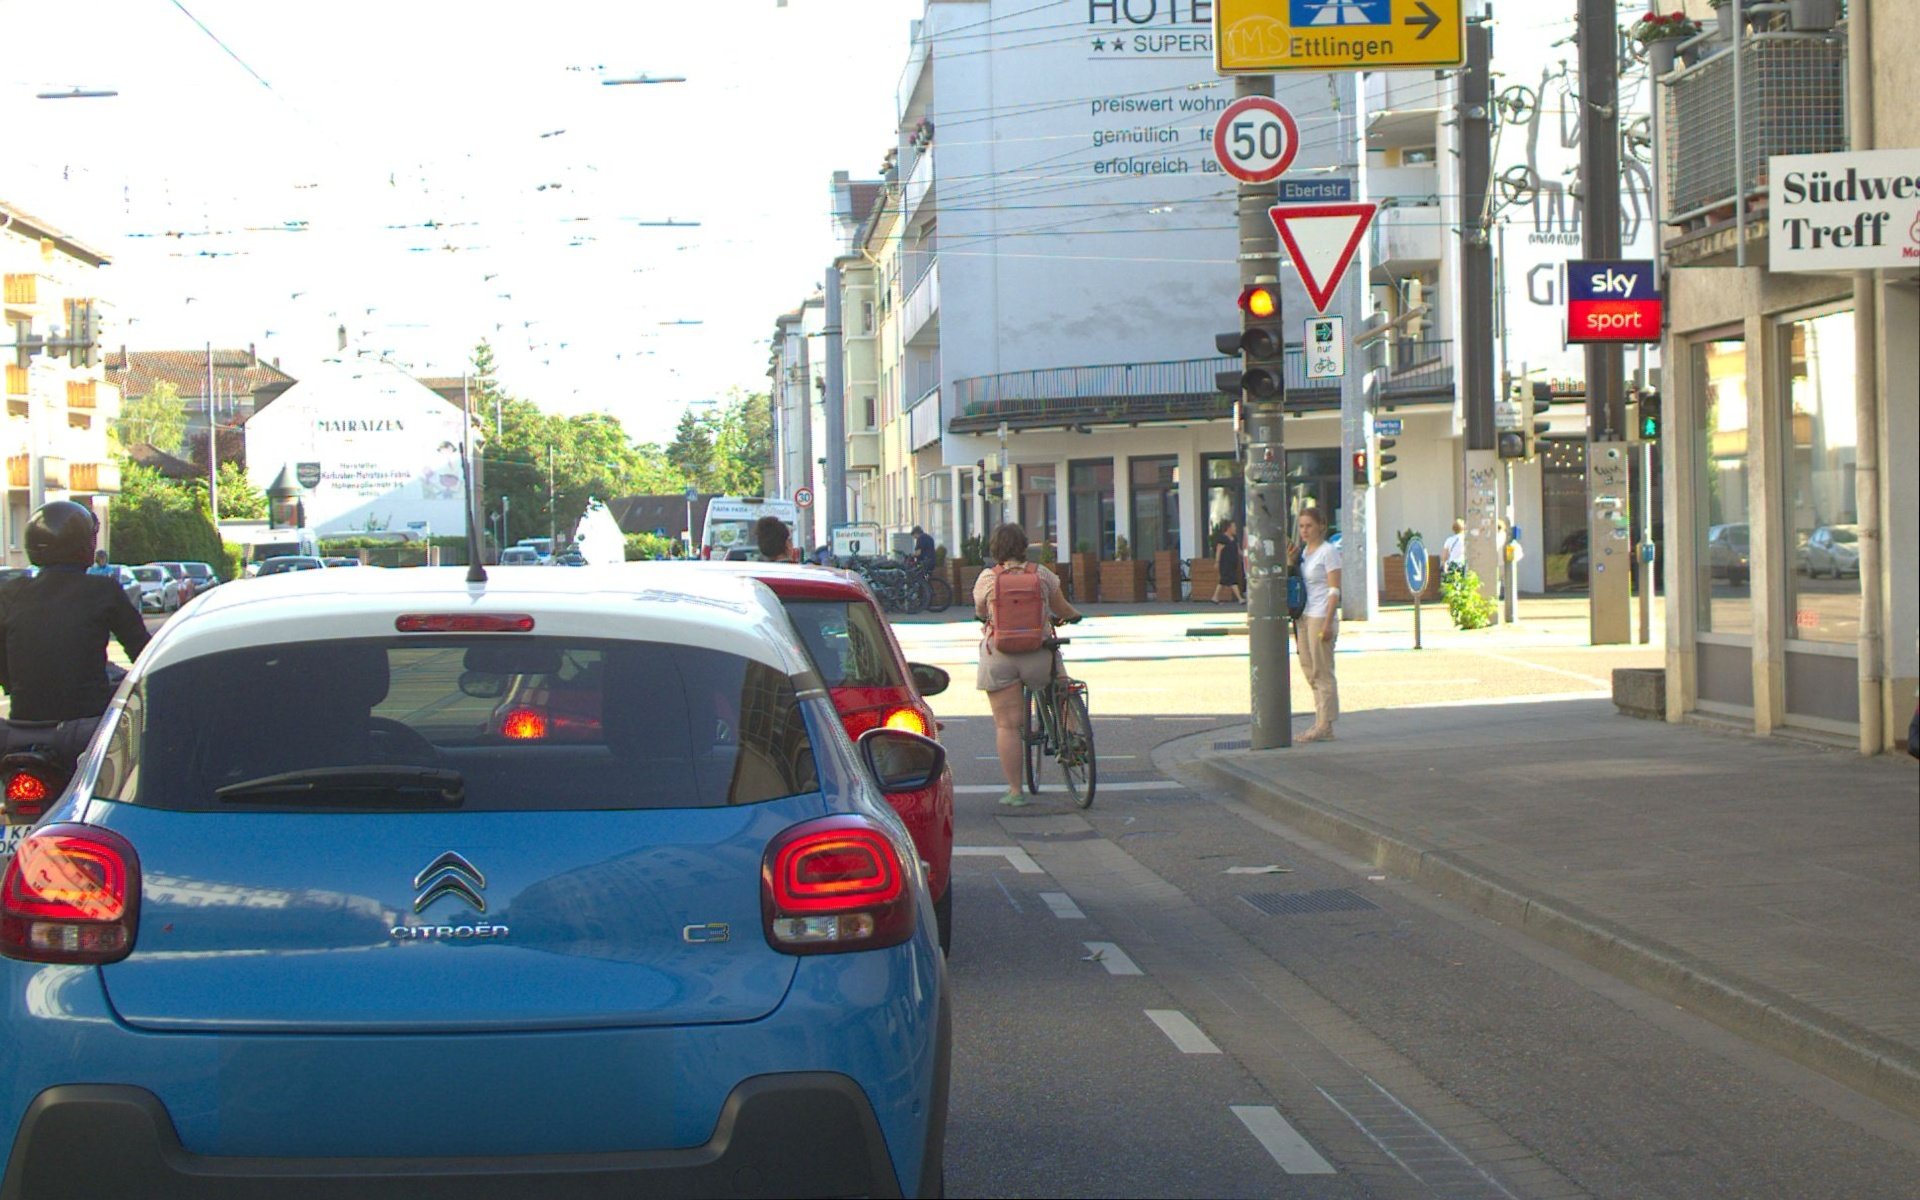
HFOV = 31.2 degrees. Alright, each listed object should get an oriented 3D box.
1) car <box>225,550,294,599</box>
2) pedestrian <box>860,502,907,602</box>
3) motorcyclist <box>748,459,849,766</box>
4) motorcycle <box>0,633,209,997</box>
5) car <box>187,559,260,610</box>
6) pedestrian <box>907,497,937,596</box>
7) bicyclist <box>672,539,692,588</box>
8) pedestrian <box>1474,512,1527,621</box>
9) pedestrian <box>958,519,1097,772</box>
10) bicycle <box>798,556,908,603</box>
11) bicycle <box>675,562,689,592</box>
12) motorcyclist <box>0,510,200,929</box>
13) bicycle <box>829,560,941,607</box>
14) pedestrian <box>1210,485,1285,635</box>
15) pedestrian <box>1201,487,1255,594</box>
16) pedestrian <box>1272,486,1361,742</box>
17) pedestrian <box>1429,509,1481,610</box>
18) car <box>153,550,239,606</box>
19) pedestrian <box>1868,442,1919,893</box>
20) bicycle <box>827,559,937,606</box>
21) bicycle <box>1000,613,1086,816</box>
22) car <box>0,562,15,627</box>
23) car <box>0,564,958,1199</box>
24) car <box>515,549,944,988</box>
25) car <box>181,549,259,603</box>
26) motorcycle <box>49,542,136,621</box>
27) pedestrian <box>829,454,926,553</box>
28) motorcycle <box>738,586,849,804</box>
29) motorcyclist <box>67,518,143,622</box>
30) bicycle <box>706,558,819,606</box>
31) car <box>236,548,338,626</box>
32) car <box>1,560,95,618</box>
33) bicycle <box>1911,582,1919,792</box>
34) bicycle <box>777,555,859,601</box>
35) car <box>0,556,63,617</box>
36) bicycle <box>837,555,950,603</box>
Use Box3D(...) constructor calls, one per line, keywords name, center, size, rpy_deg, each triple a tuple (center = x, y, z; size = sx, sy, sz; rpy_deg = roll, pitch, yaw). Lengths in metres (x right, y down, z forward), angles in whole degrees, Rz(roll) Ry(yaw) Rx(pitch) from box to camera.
Box3D(name="car", center=(-24.712, -0.893, 121.306), size=(1.846, 1.681, 3.875), rpy_deg=(1, 1, -4))
Box3D(name="pedestrian", center=(-1.539, -0.968, 69.181), size=(0.630, 2.007, 0.724), rpy_deg=(1, 0, -36))
Box3D(name="motorcyclist", center=(-0.915, 0.066, 19.622), size=(0.526, 1.710, 0.717), rpy_deg=(1, 0, -1))
Box3D(name="motorcycle", center=(-3.300, 0.755, 12.892), size=(0.537, 1.215, 1.981), rpy_deg=(1, 1, -1))
Box3D(name="car", center=(-24.970, -0.543, 116.639), size=(1.833, 1.681, 4.001), rpy_deg=(1, 1, -4))
Box3D(name="pedestrian", center=(-0.776, -1.087, 70.268), size=(0.577, 2.007, 0.626), rpy_deg=(1, 0, -3))
Box3D(name="bicyclist", center=(-8.517, -1.120, 105.340), size=(0.561, 1.472, 0.748), rpy_deg=(1, 0, -2))
Box3D(name="pedestrian", center=(8.286, -0.517, 52.697), size=(0.752, 1.652, 0.883), rpy_deg=(1, 0, 11))
Box3D(name="pedestrian", center=(0.389, 0.260, 20.203), size=(0.777, 1.455, 0.682), rpy_deg=(1, 0, -1))
Box3D(name="bicycle", center=(-2.126, -0.408, 68.305), size=(2.132, 0.898, 0.367), rpy_deg=(1, 0, -9))
Box3D(name="bicycle", center=(-8.524, -0.709, 105.417), size=(0.349, 0.900, 1.859), rpy_deg=(1, 1, -2))
Box3D(name="motorcyclist", center=(-3.302, 0.426, 12.659), size=(0.860, 1.500, 0.598), rpy_deg=(1, 0, -1))
Box3D(name="bicycle", center=(-1.461, -0.326, 67.077), size=(2.132, 0.898, 0.367), rpy_deg=(1, 0, -9))
Box3D(name="pedestrian", center=(3.916, -0.545, 46.912), size=(0.926, 2.007, 0.759), rpy_deg=(1, 0, -1))
Box3D(name="pedestrian", center=(5.061, -1.121, 64.937), size=(0.758, 2.007, 0.710), rpy_deg=(1, 0, 31))
Box3D(name="pedestrian", center=(2.517, 0.094, 24.292), size=(0.517, 1.777, 0.595), rpy_deg=(1, 0, -2))
Box3D(name="pedestrian", center=(7.893, -0.641, 54.814), size=(0.736, 1.595, 0.748), rpy_deg=(1, 0, 13))
Box3D(name="car", center=(-23.654, -0.696, 106.552), size=(1.983, 1.681, 4.001), rpy_deg=(1, 1, -3))
Box3D(name="pedestrian", center=(3.793, 0.238, 12.368), size=(0.825, 1.587, 0.751), rpy_deg=(1, 0, -1))
Box3D(name="bicycle", center=(-1.532, -0.340, 67.482), size=(2.132, 0.898, 0.367), rpy_deg=(1, 0, -9))
Box3D(name="bicycle", center=(0.481, 0.652, 20.500), size=(0.427, 1.119, 1.998), rpy_deg=(1, 1, -1))
Box3D(name="car", center=(-23.206, -0.135, 79.238), size=(1.787, 1.506, 4.150), rpy_deg=(1, 1, -2))
Box3D(name="car", center=(-0.860, 0.656, 7.167), size=(1.654, 1.439, 3.523), rpy_deg=(1, 1, -1))
Box3D(name="car", center=(-0.798, 0.561, 13.143), size=(1.424, 1.462, 2.924), rpy_deg=(-1, 0, -1))
Box3D(name="car", center=(-23.979, -0.784, 111.443), size=(1.882, 1.681, 4.001), rpy_deg=(1, 1, -4))
Box3D(name="motorcycle", center=(-16.787, -0.371, 66.620), size=(0.923, 1.481, 3.726), rpy_deg=(1, 1, -3))
Box3D(name="pedestrian", center=(-1.747, -2.035, 73.533), size=(1.993, 2.007, 4.000), rpy_deg=(1, 1, -1))
Box3D(name="motorcycle", center=(-0.923, 0.501, 19.439), size=(0.526, 1.136, 2.290), rpy_deg=(1, 1, -1))
Box3D(name="motorcyclist", center=(-16.712, -0.595, 67.244), size=(1.185, 2.007, 1.276), rpy_deg=(-1, 1, -3))
Box3D(name="bicycle", center=(-3.805, -0.350, 66.200), size=(2.132, 0.898, 0.367), rpy_deg=(1, 0, -9))
Box3D(name="car", center=(-14.935, -0.307, 76.431), size=(1.774, 1.660, 3.857), rpy_deg=(1, 1, -4))
Box3D(name="car", center=(-24.364, -0.304, 91.965), size=(1.732, 1.493, 4.001), rpy_deg=(1, 1, -5))
Box3D(name="bicycle", center=(4.848, 0.425, 15.633), size=(0.542, 0.995, 1.706), rpy_deg=(1, 1, -1))
Box3D(name="bicycle", center=(-2.867, -0.442, 69.407), size=(1.785, 0.898, 0.366), rpy_deg=(1, 1, 34))
Box3D(name="car", center=(-23.769, -0.361, 86.051), size=(1.785, 1.493, 4.001), rpy_deg=(1, 1, -4))
Box3D(name="bicycle", center=(-1.271, -0.397, 65.943), size=(2.132, 0.898, 0.367), rpy_deg=(1, 0, -9))
